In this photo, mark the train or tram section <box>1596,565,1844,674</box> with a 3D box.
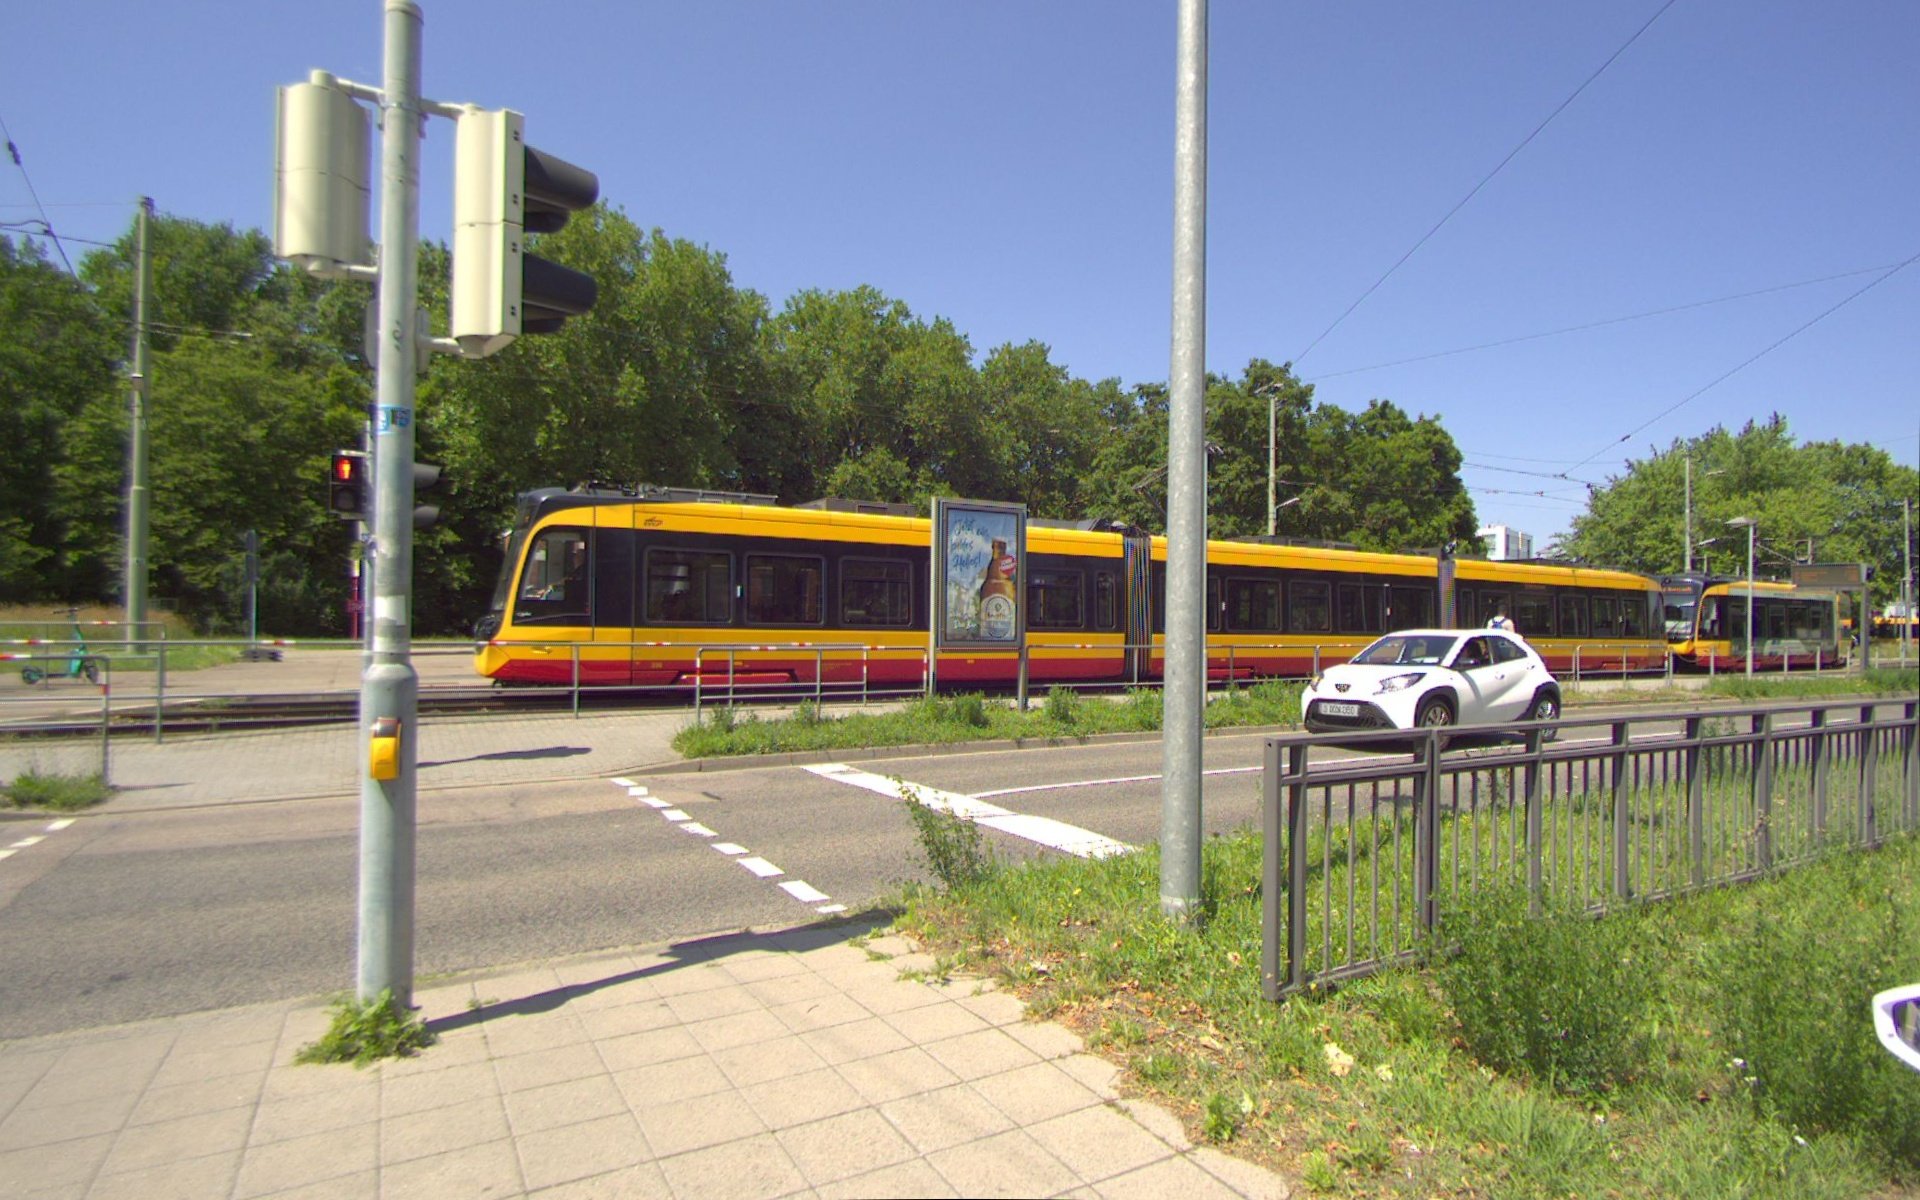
[{"bbox_3d":[29.696,0.767,38.854,13.746,3.673,3.026,1,0,-33],"label":"train or tram section"}]

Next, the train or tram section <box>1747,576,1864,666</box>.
[{"bbox_3d":[39.291,0.933,46.447,12.371,3.673,3.013,1,1,-45],"label":"train or tram section"}]

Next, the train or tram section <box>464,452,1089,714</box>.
[{"bbox_3d":[-2.996,-0.158,19.170,11.408,3.907,2.935,1,0,-31],"label":"train or tram section"}]

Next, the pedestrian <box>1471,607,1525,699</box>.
[{"bbox_3d":[11.002,1.067,20.548,0.768,1.815,0.628,1,1,-32],"label":"pedestrian"}]

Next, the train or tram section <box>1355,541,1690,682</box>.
[{"bbox_3d":[18.188,0.422,31.897,13.106,3.817,3.029,1,0,-30],"label":"train or tram section"}]

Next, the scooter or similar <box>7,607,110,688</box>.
[{"bbox_3d":[-14.697,0.766,16.406,1.087,1.253,0.765,1,1,-30],"label":"scooter or similar"}]

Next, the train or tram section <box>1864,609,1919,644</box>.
[{"bbox_3d":[100.884,2.837,102.233,3.003,3.512,13.190,1,0,-23],"label":"train or tram section"}]

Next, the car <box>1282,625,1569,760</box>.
[{"bbox_3d":[6.206,1.128,13.320,3.679,1.525,1.759,1,-1,-32],"label":"car"}]

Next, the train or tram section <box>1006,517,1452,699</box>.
[{"bbox_3d":[7.203,0.265,25.371,12.450,3.791,3.028,1,0,-31],"label":"train or tram section"}]
